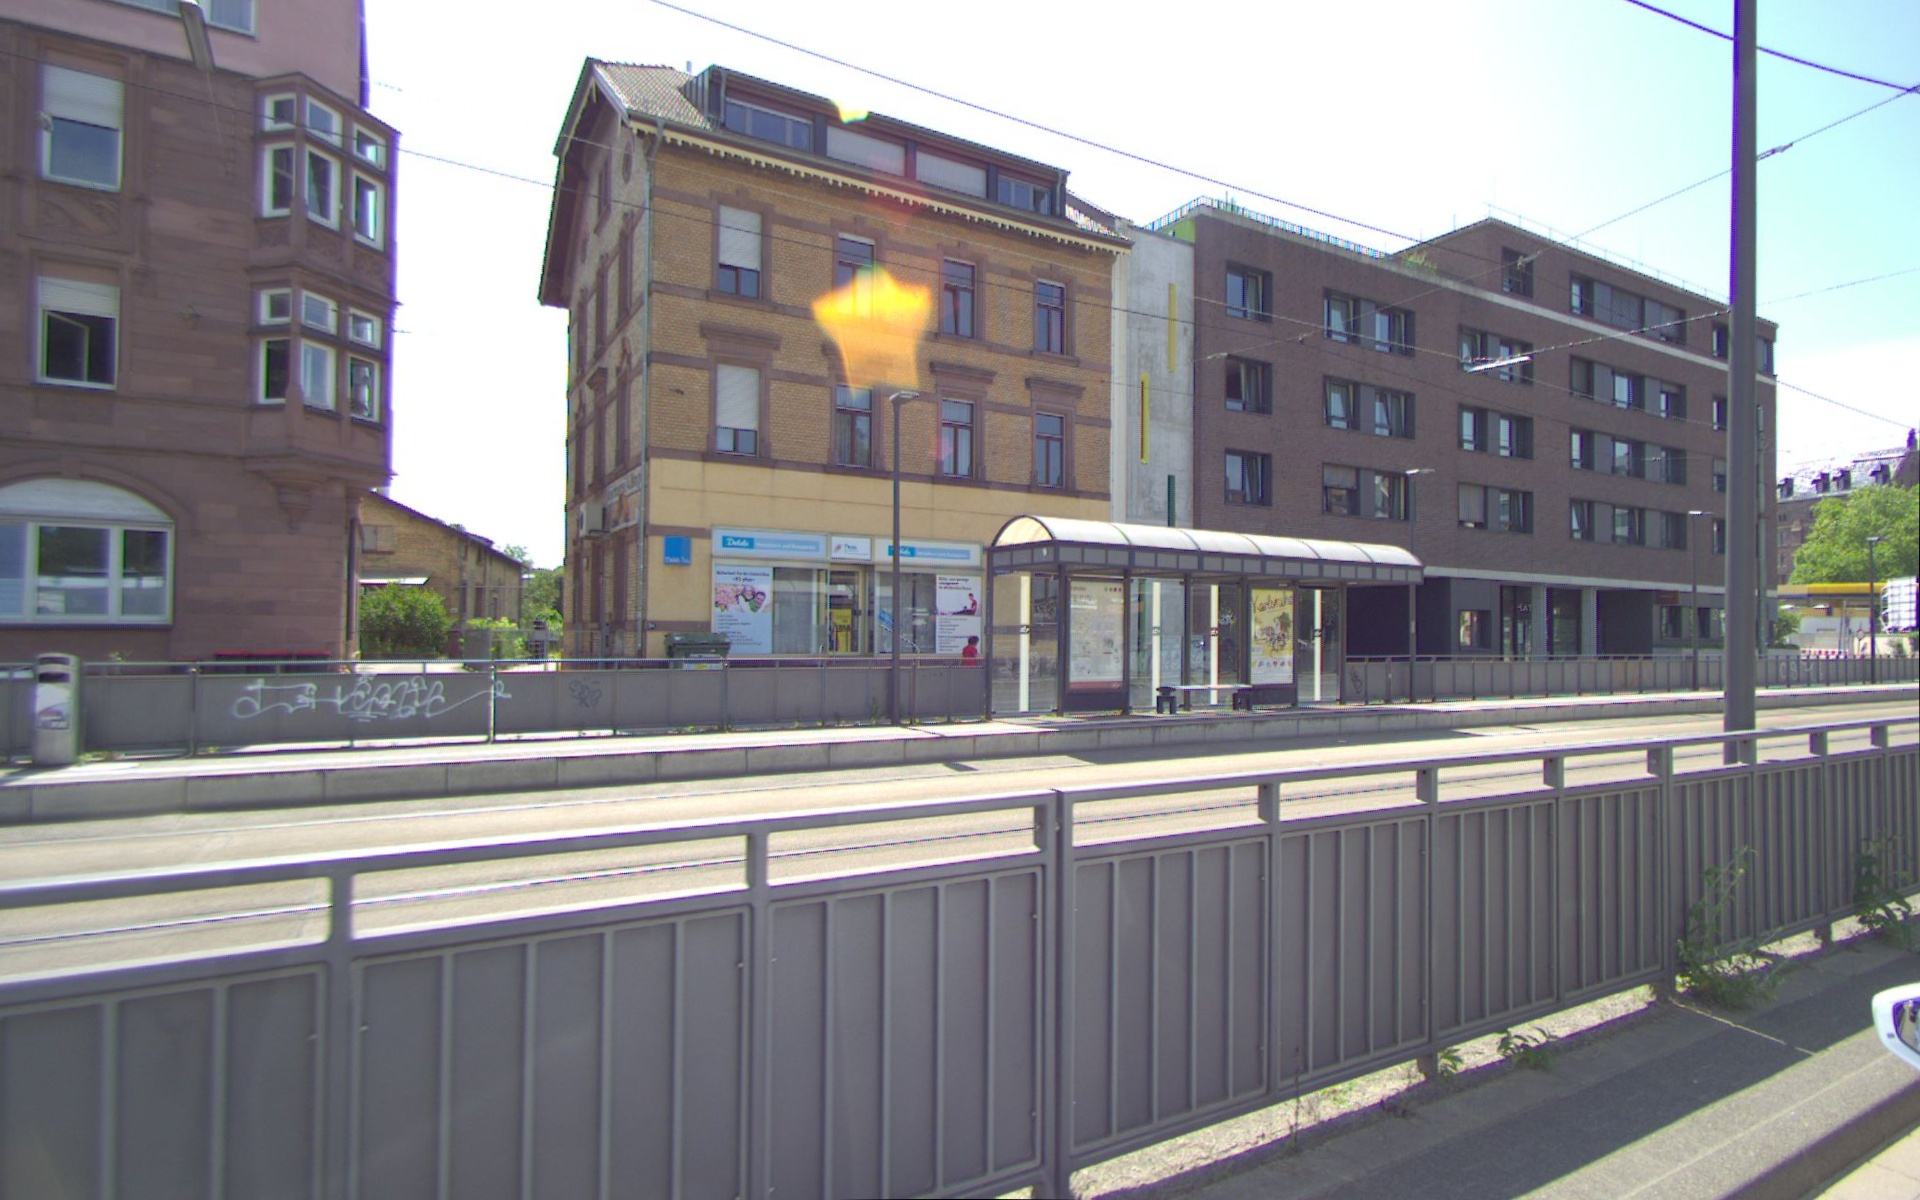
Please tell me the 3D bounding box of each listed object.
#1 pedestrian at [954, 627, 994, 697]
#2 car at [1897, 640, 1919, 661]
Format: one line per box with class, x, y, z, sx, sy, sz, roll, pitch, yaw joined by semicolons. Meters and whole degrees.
pedestrian;0.328;1.445;23.575;0.707;1.617;0.599;2;-2;-33
car;73.854;3.822;76.465;4.129;1.525;1.826;0;0;-15
